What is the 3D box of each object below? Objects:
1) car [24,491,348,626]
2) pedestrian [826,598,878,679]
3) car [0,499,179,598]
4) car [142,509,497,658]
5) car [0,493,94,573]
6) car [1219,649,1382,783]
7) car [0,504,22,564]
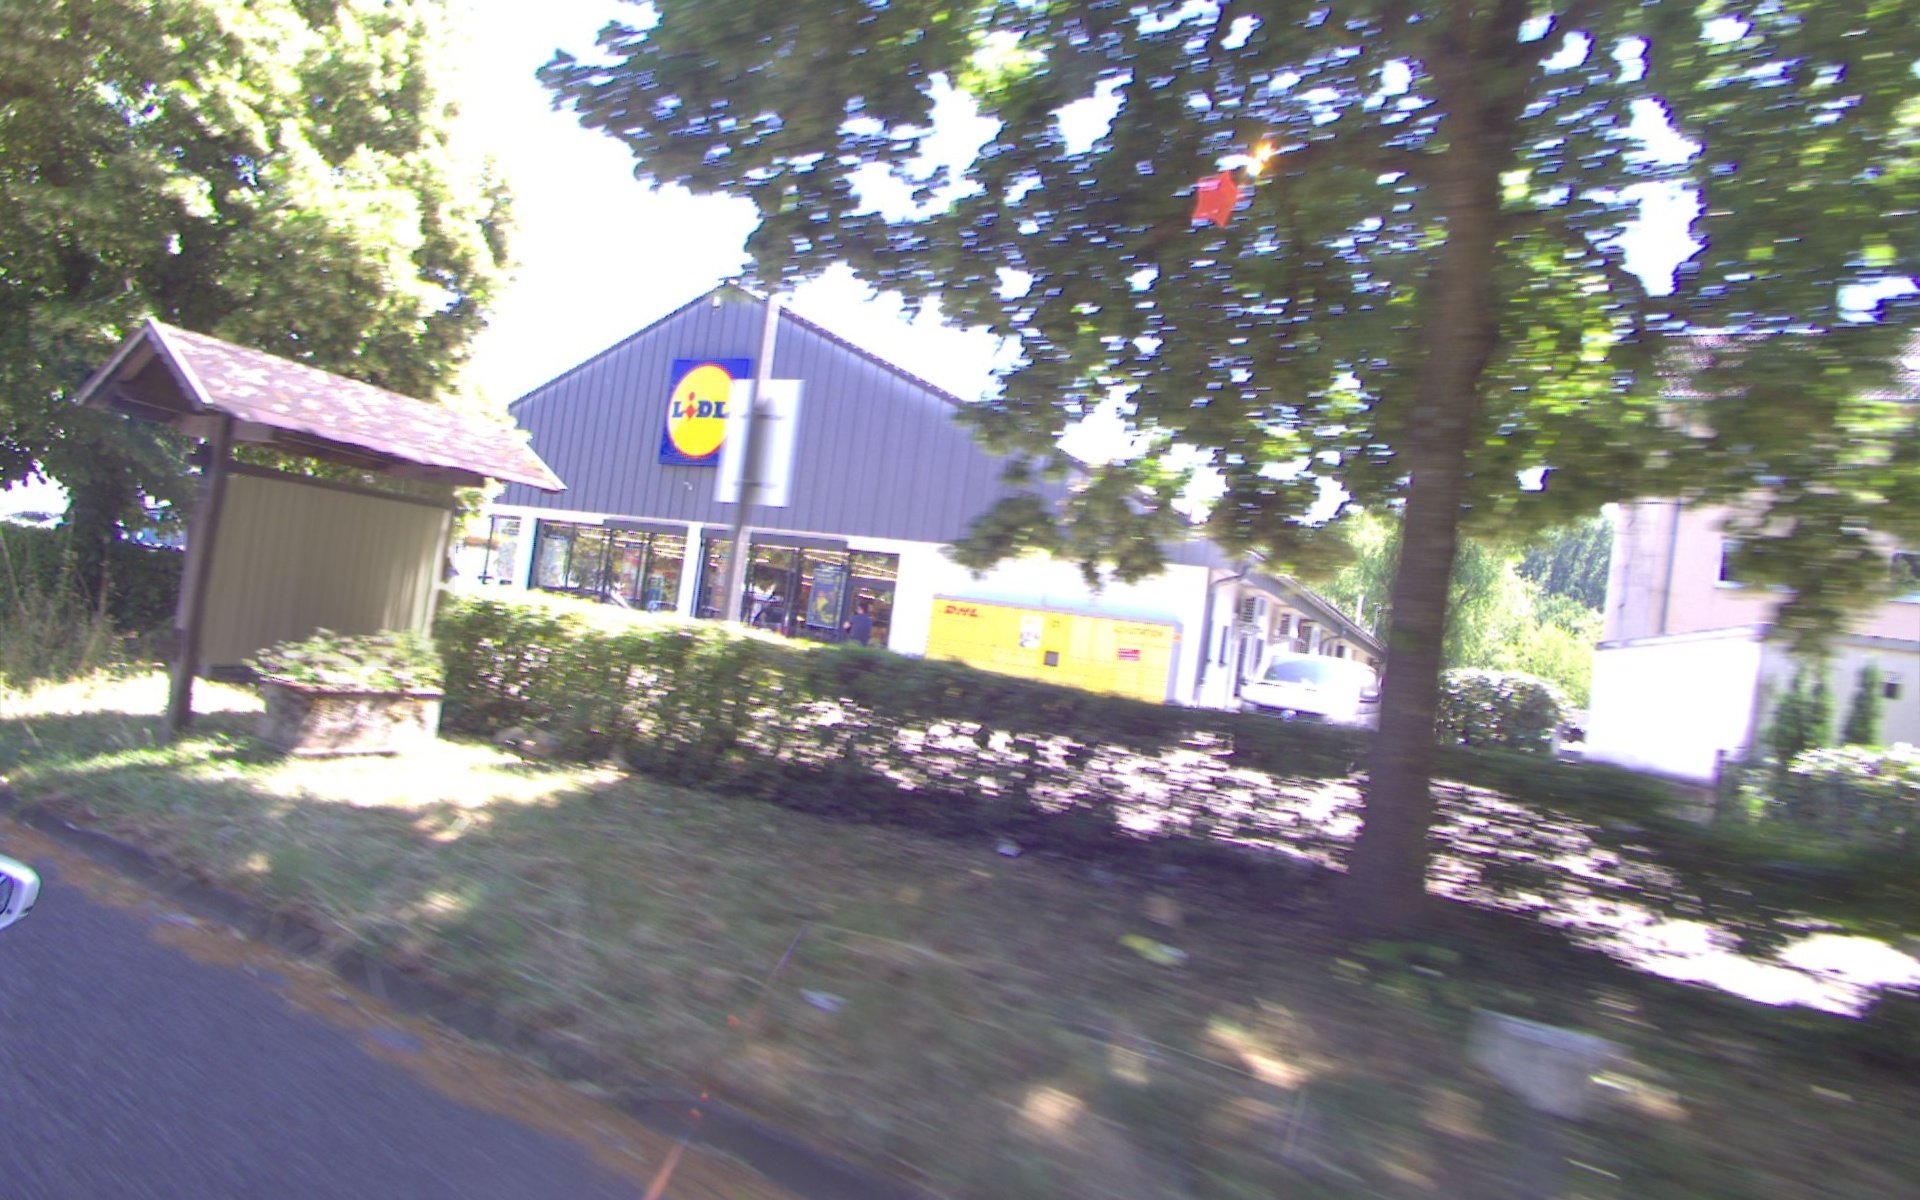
[{"bbox_3d":[-13.465,-0.647,17.769,1.822,1.747,4.025,7,-2,30],"label":"car"},{"bbox_3d":[-2.188,0.772,20.449,0.773,1.522,0.610,7,1,5],"label":"pedestrian"},{"bbox_3d":[-18.086,-1.095,19.334,1.800,1.556,4.400,7,-2,30],"label":"car"},{"bbox_3d":[-9.299,-0.150,14.953,1.767,1.582,3.945,7,-3,30],"label":"car"},{"bbox_3d":[-22.381,-1.702,22.483,1.836,1.594,4.115,7,-2,30],"label":"car"},{"bbox_3d":[6.211,1.894,17.894,1.887,1.789,5.251,7,0,26],"label":"car"},{"bbox_3d":[-26.673,-1.972,25.413,1.678,1.528,3.953,7,-2,30],"label":"car"}]
